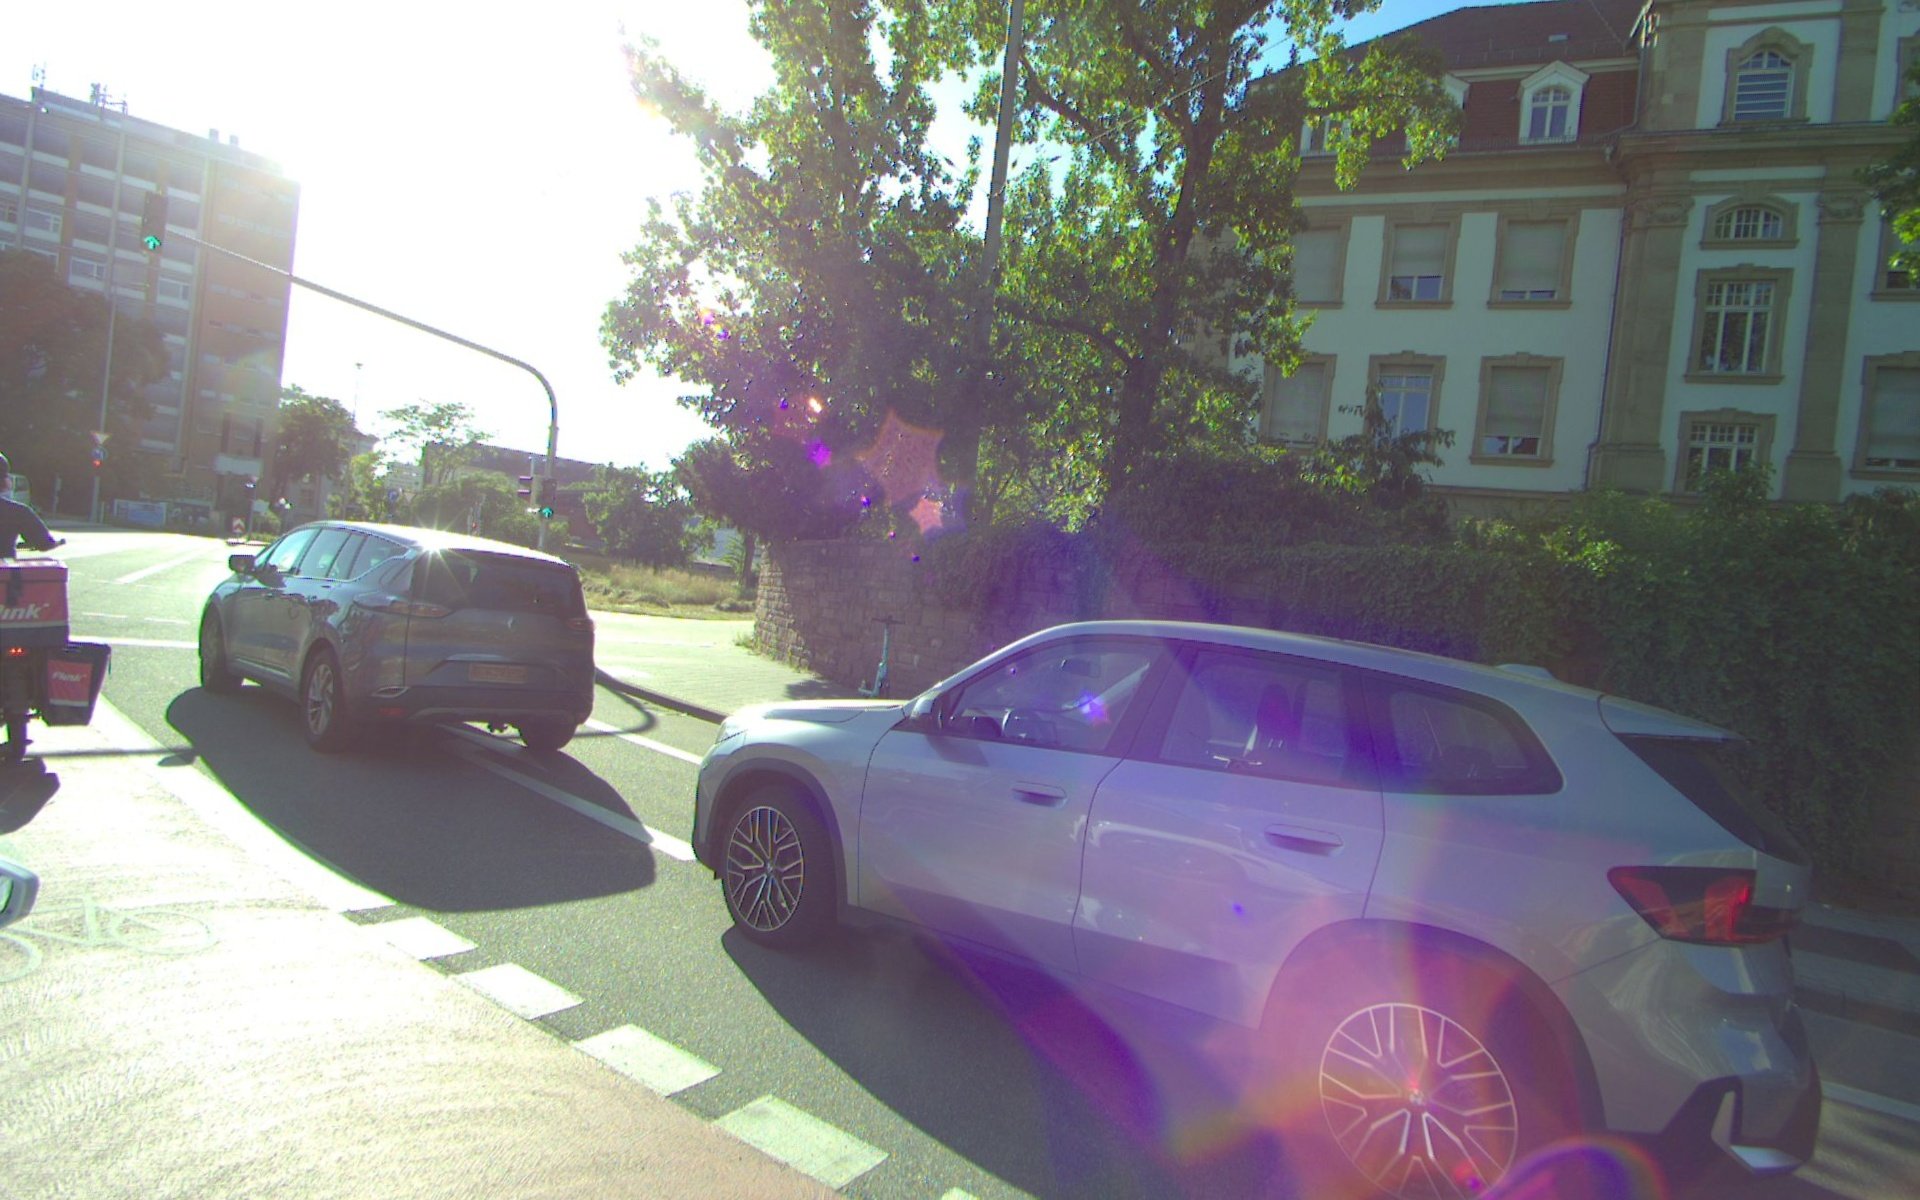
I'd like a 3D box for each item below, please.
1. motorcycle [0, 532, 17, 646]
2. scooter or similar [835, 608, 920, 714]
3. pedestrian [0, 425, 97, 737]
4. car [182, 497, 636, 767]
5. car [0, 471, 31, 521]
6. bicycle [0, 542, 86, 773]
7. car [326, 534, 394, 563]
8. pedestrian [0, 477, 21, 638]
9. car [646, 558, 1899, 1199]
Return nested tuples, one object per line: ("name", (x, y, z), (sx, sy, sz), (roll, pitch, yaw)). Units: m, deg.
("motorcycle", (-8.982, -0.086, 8.973), (0.611, 1.110, 2.334), (8, -2, -41))
("scooter or similar", (-1.160, 0.819, 13.884), (0.569, 1.285, 1.414), (6, 0, -27))
("pedestrian", (-6.221, -0.146, 6.396), (0.943, 1.890, 0.806), (6, -1, 40))
("car", (-4.842, 0.163, 8.557), (4.307, 1.709, 1.830), (6, -2, 40))
("car", (-40.906, -4.438, 42.427), (1.897, 1.970, 4.660), (4, 1, -36))
("bicycle", (-5.996, 0.256, 6.181), (2.340, 1.185, 0.553), (6, -2, 42))
("car", (-41.843, -3.578, 70.156), (3.960, 1.549, 1.788), (6, 1, -34))
("pedestrian", (-8.830, -0.311, 8.882), (0.585, 1.617, 1.013), (8, -1, -41))
("car", (0.821, 0.882, 4.245), (4.263, 1.612, 1.788), (6, -2, 37))
